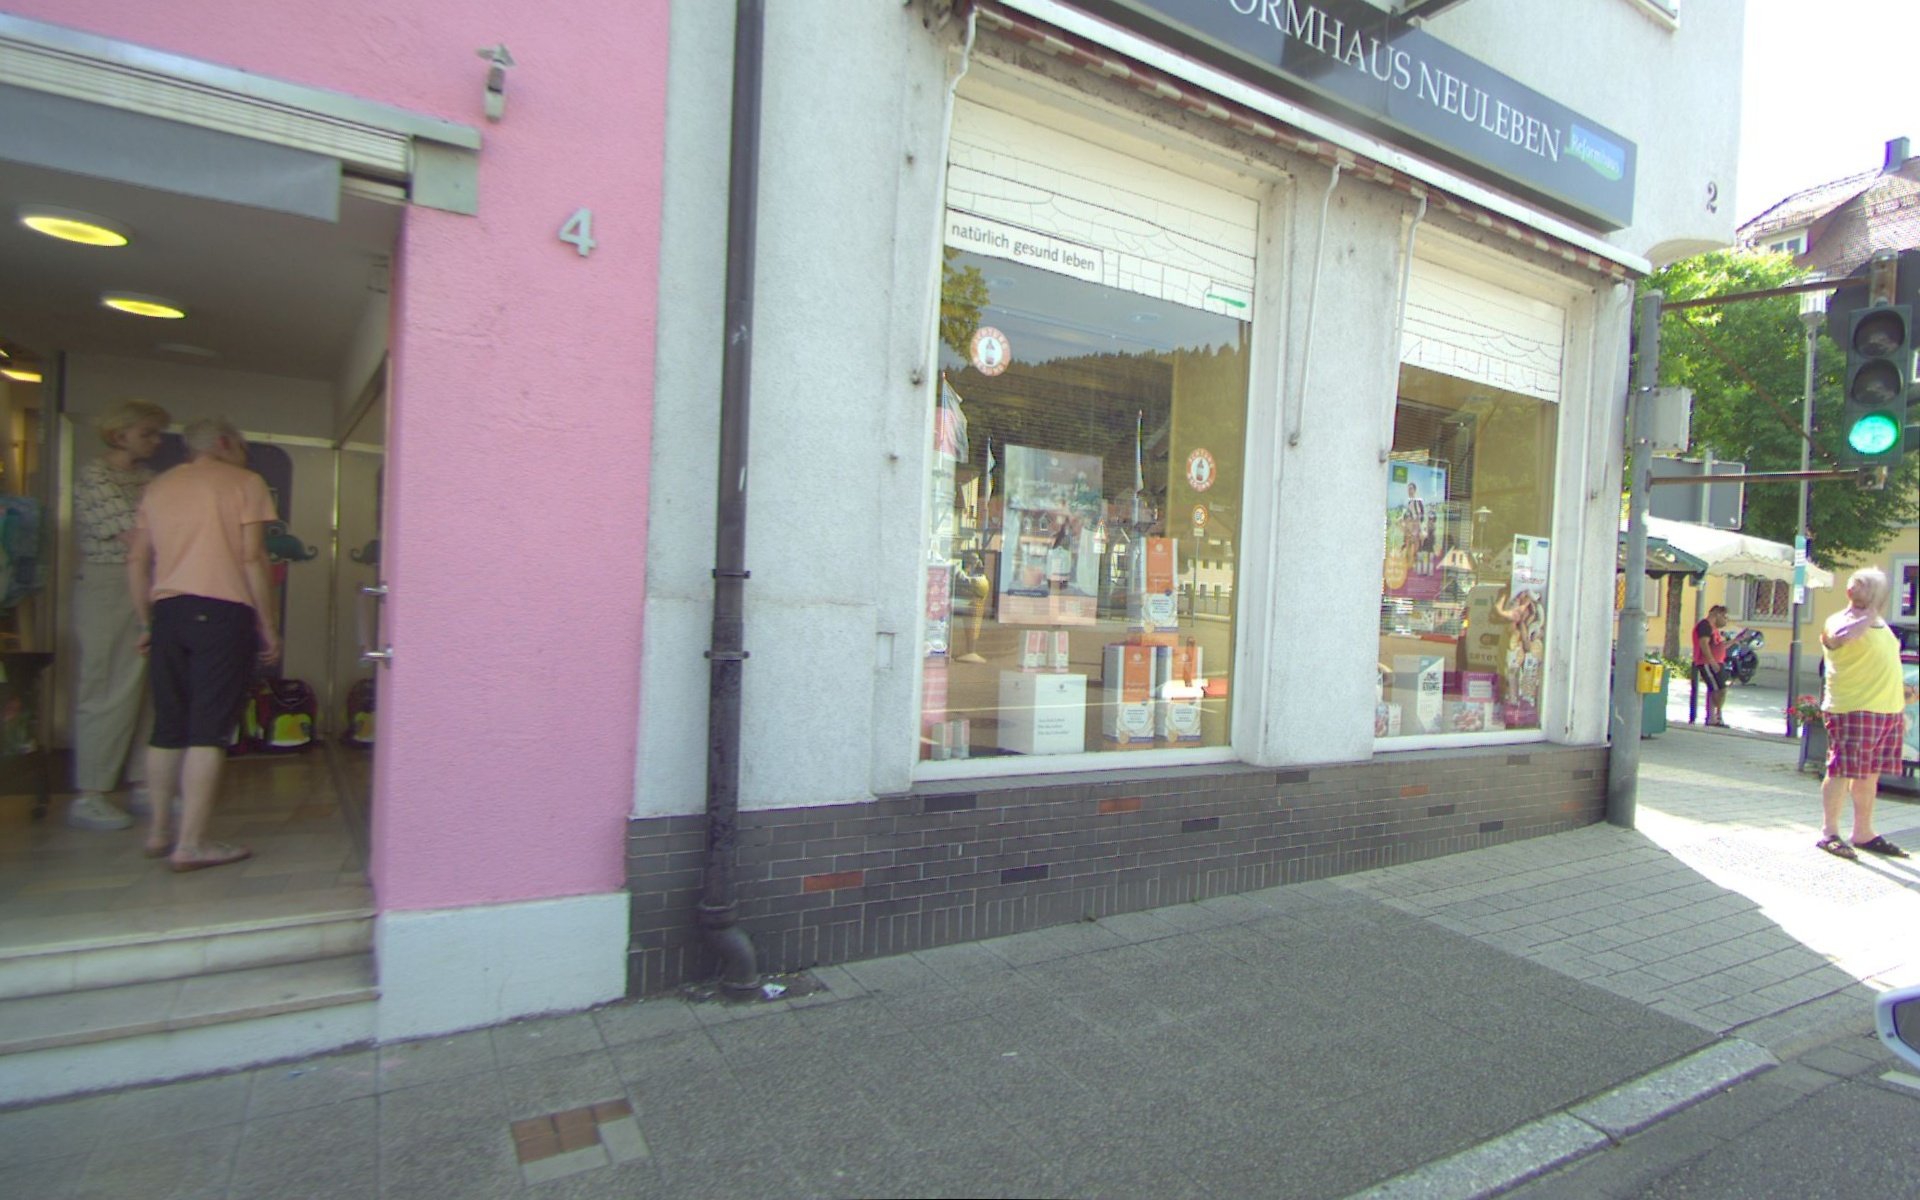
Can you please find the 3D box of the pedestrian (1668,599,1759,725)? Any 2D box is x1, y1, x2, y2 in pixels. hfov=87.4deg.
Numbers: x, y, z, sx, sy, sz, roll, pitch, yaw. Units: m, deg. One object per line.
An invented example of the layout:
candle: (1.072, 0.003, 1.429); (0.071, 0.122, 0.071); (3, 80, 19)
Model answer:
pedestrian: (10.569, 0.862, 14.099); (0.871, 1.680, 0.569); (5, 0, -24)

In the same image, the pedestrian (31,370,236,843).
pedestrian: (-3.382, 0.026, 4.108); (0.568, 1.745, 0.566); (2, 1, 45)

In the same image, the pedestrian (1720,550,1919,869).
pedestrian: (5.779, 0.648, 6.409); (0.889, 1.839, 1.021); (5, 5, 7)

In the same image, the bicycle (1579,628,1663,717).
bicycle: (10.046, 1.071, 15.238); (1.849, 1.251, 0.609); (2, 1, -43)

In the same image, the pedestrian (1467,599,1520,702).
pedestrian: (9.428, 0.874, 17.755); (0.695, 1.747, 0.786); (2, 0, 34)

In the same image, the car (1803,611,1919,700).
car: (19.678, 1.125, 20.983); (1.886, 1.564, 3.958); (3, 2, 21)

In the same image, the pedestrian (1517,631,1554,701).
pedestrian: (10.020, 1.135, 17.490); (0.507, 1.176, 0.621); (2, 0, 30)

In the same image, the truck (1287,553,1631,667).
truck: (14.086, 0.112, 29.428); (2.975, 2.795, 8.790); (1, 2, -29)

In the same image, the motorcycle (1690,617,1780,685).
motorcycle: (17.284, 1.110, 22.388); (2.064, 1.379, 0.880); (0, 2, -31)

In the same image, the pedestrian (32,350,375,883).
pedestrian: (-2.725, 0.045, 3.678); (0.701, 1.745, 0.675); (2, 0, 10)
